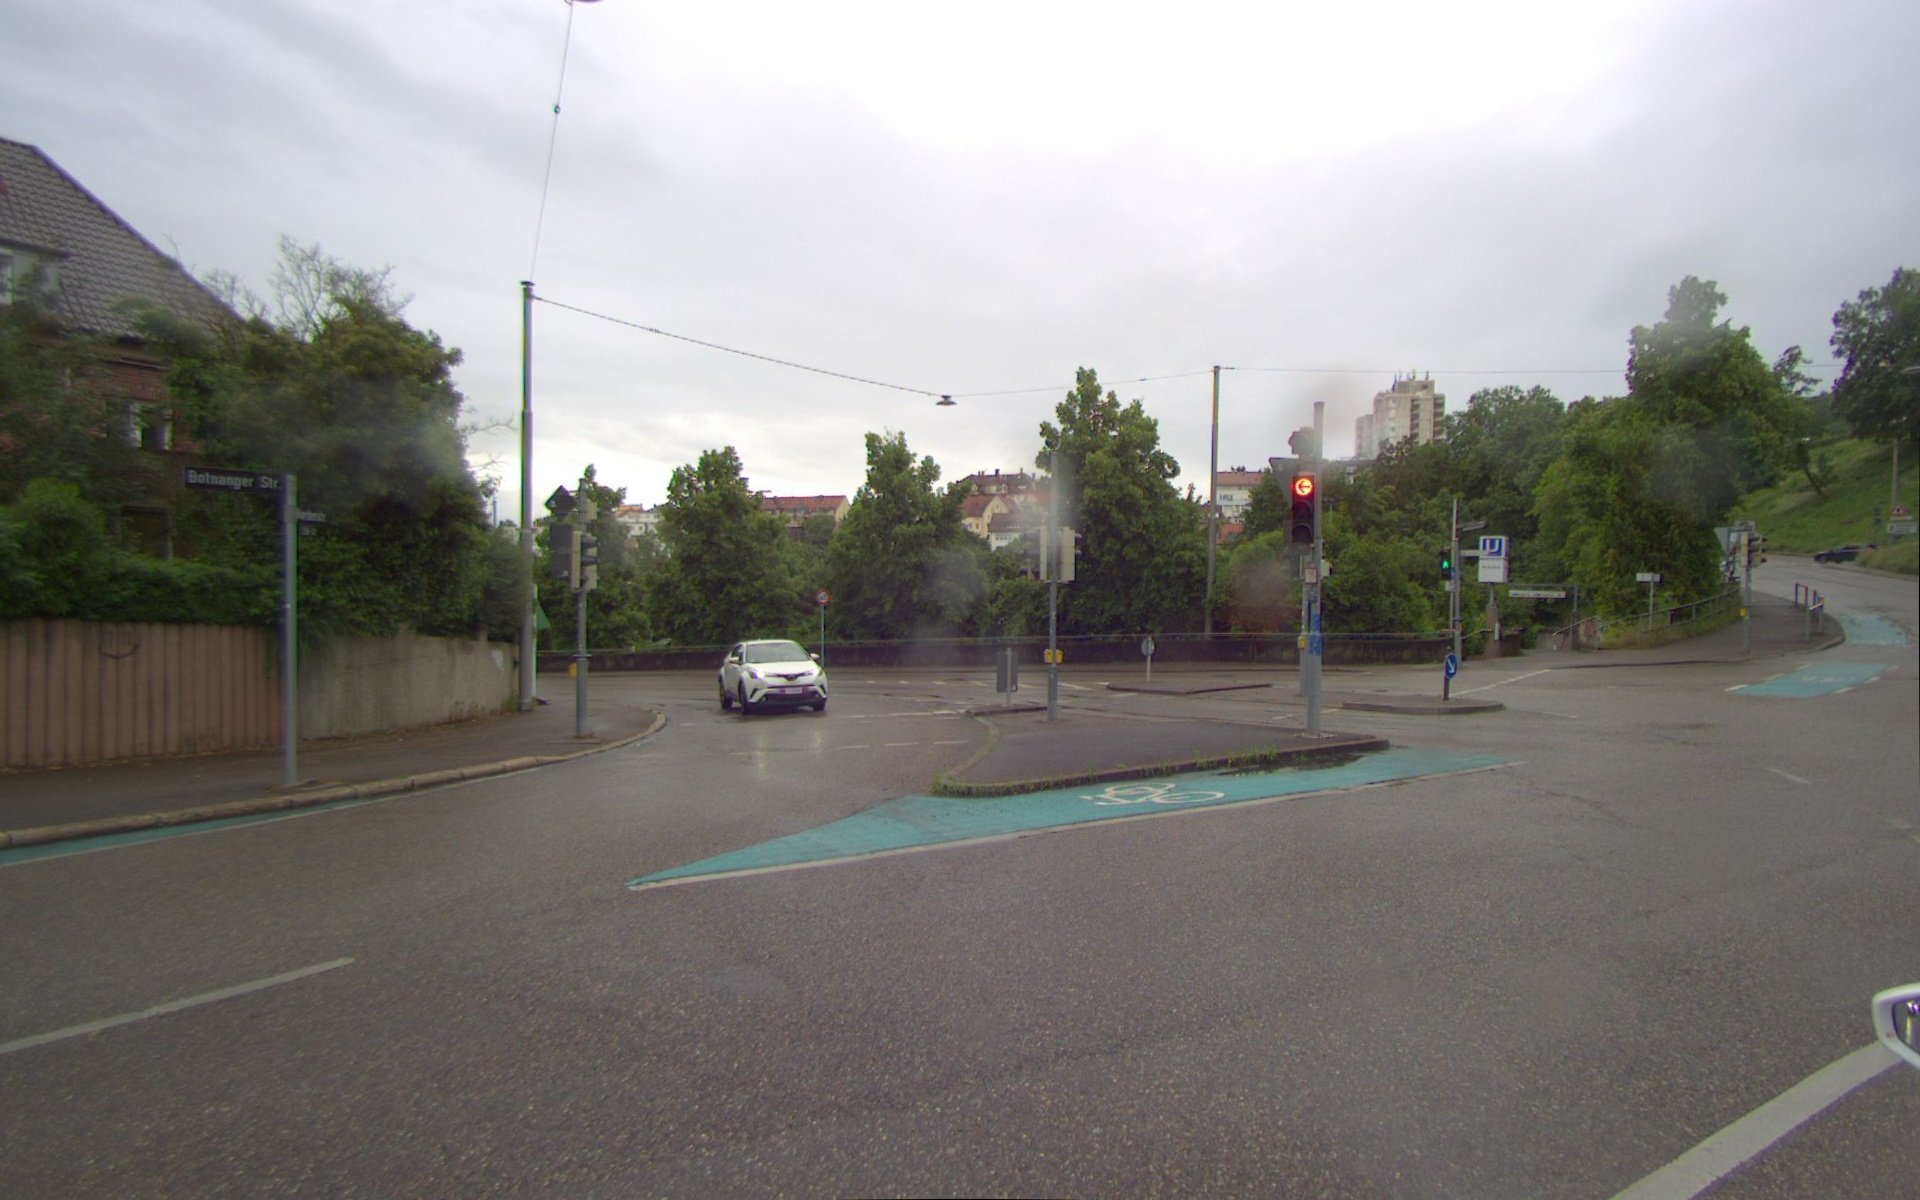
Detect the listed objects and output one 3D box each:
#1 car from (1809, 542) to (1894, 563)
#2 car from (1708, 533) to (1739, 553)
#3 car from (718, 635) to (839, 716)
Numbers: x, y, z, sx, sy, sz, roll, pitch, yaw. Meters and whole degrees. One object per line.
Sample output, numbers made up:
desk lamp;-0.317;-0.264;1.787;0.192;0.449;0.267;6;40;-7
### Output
car;66.582;-3.544;75.110;1.931;1.532;4.388;-1;2;-16
car;72.606;-5.404;95.575;1.891;1.805;3.990;2;2;32
car;-4.065;1.617;22.053;1.810;1.527;3.865;-2;-2;-22
